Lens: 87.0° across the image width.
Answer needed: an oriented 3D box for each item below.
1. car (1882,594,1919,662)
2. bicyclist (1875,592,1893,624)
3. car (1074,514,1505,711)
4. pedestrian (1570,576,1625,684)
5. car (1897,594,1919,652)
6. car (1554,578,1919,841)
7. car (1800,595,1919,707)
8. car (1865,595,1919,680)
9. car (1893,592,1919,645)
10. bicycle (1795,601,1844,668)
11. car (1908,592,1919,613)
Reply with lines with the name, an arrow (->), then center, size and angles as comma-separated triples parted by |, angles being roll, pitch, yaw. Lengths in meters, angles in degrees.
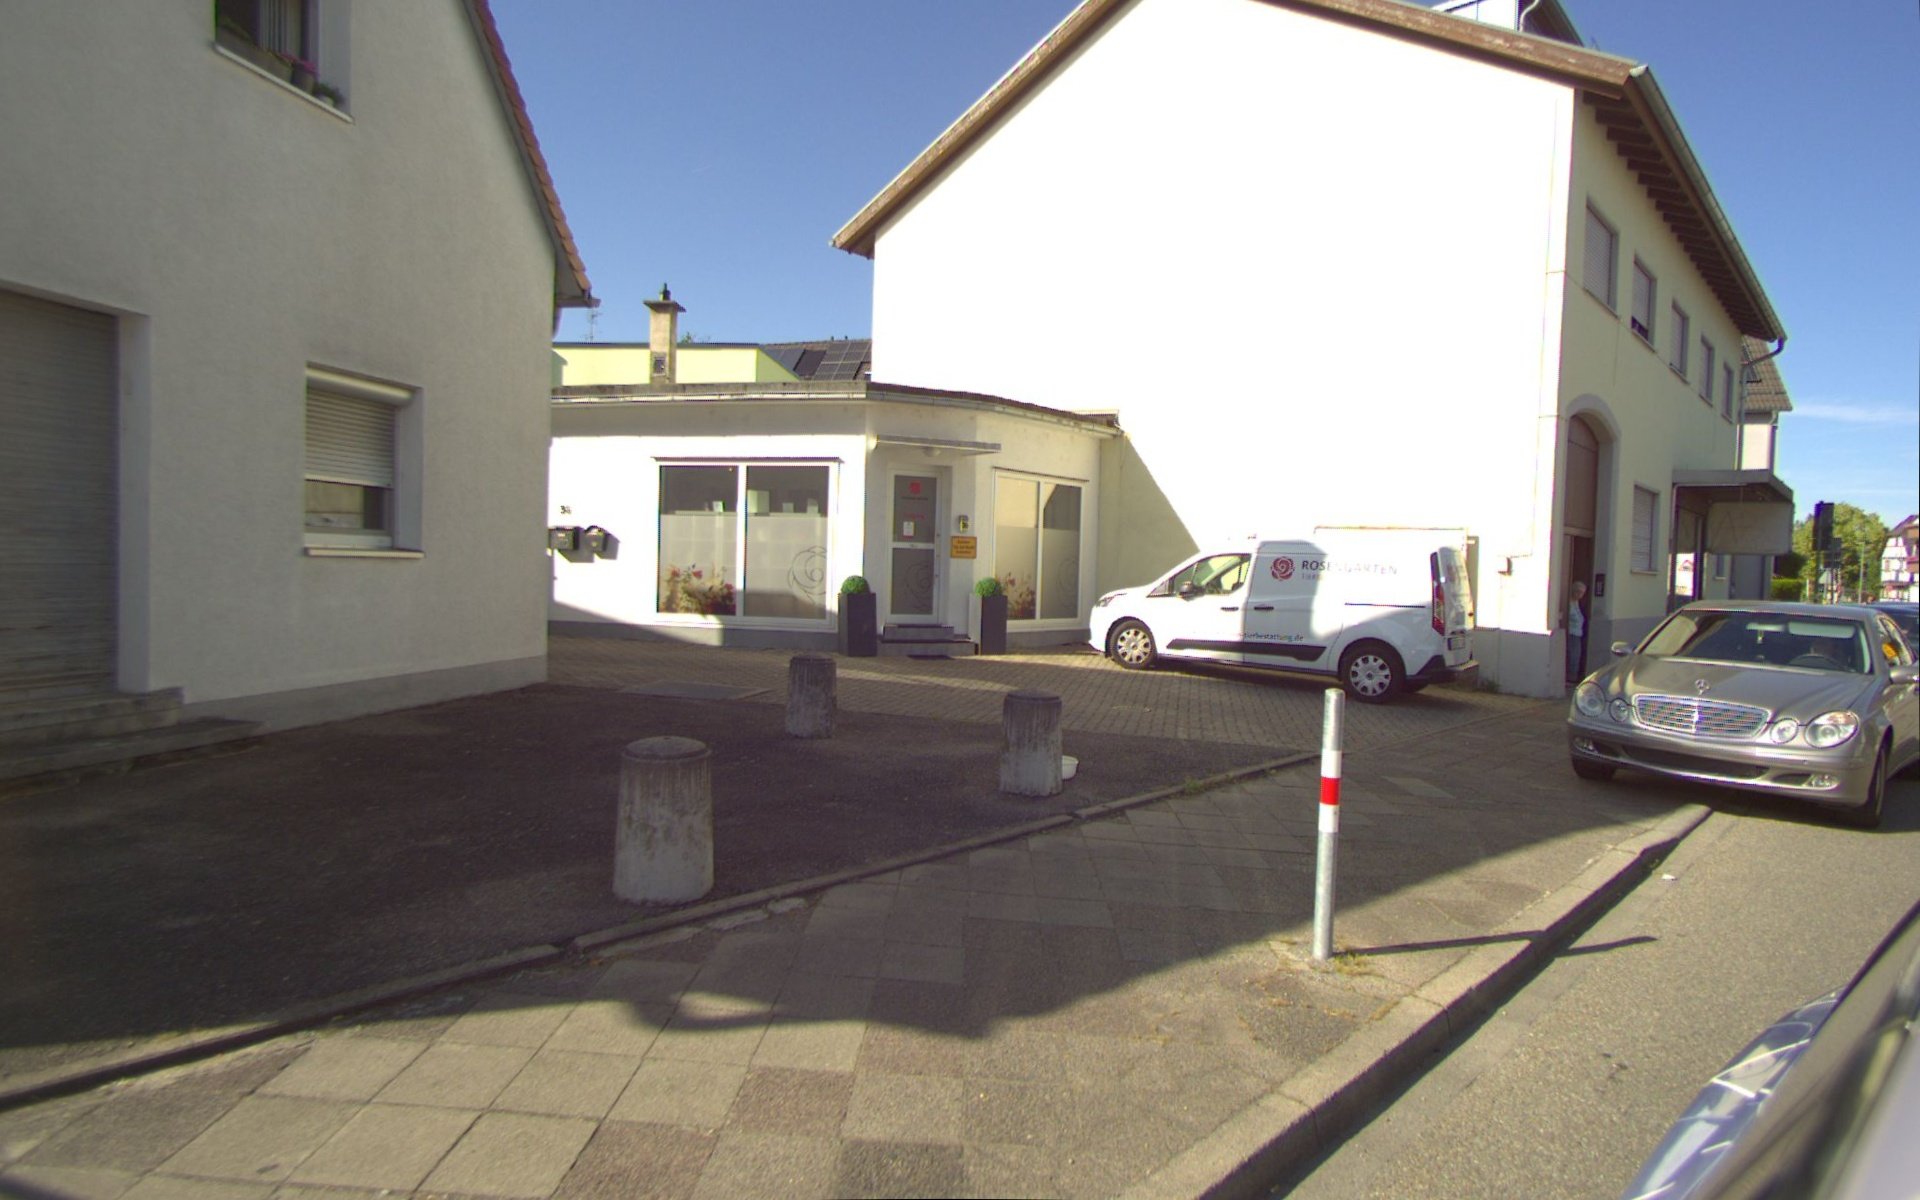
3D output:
car -> 22.995, 0.612, 23.804 | 1.809, 1.494, 4.374 | 1, 1, 44
bicyclist -> 49.915, 0.424, 54.654 | 0.641, 1.685, 0.596 | 3, 2, 42
car -> 3.999, 0.001, 12.792 | 4.756, 1.909, 1.882 | 6, 4, 38
pedestrian -> 9.633, 0.434, 15.288 | 0.563, 1.571, 0.759 | 2, 1, 41
car -> 26.522, 0.589, 27.331 | 1.726, 1.494, 3.813 | 1, 1, 44
car -> 6.646, 0.630, 8.161 | 4.578, 1.493, 1.815 | 0, 3, -41
car -> 14.416, 0.681, 15.689 | 1.808, 1.494, 4.767 | 1, 1, 44
car -> 18.848, 0.657, 19.597 | 1.808, 1.494, 4.767 | 1, 1, 44
car -> 29.424, 0.541, 30.708 | 1.610, 1.540, 3.909 | 1, 1, 43
bicycle -> 16.191, 0.622, 19.055 | 1.483, 1.171, 0.508 | 0, 4, -45
car -> 69.172, 0.228, 72.231 | 1.614, 1.457, 3.905 | 3, 2, 36
